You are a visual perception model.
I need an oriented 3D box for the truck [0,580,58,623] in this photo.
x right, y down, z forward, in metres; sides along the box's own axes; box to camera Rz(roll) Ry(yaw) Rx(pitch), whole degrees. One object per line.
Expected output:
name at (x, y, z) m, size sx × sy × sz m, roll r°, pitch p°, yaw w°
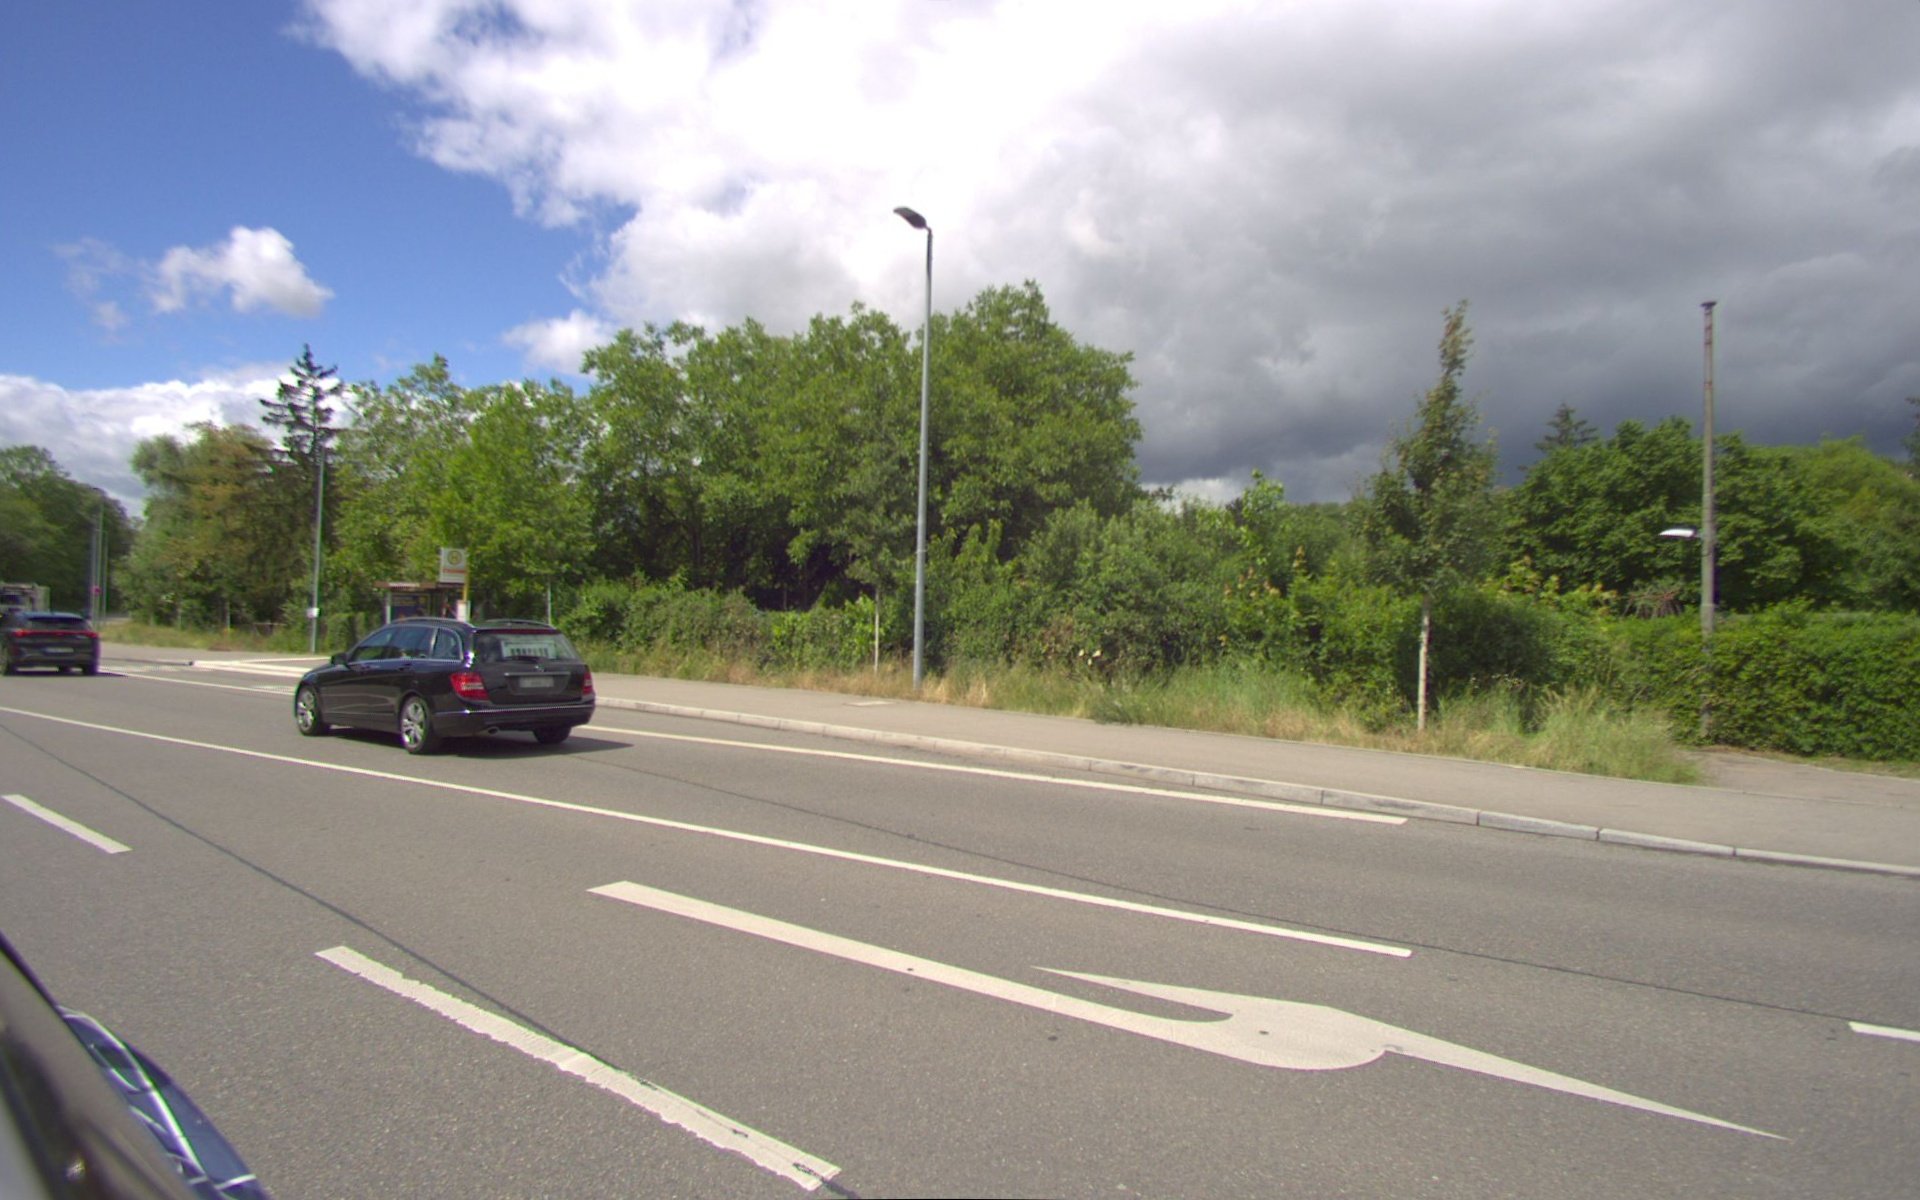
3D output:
truck at (-90.268, 0.153, 97.439) m, size 3.188 × 3.890 × 9.902 m, roll 3°, pitch -2°, yaw -31°

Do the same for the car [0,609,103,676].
car at (-23.751, 1.079, 25.923) m, size 4.622 × 1.569 × 1.805 m, roll -1°, pitch -4°, yaw 38°

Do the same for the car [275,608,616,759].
car at (-6.116, 0.856, 11.845) m, size 4.369 × 1.453 × 1.750 m, roll 0°, pitch -2°, yaw 36°

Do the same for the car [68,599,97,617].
car at (-106.425, 0.931, 122.828) m, size 1.966 × 2.029 × 4.011 m, roll 3°, pitch -2°, yaw -32°
